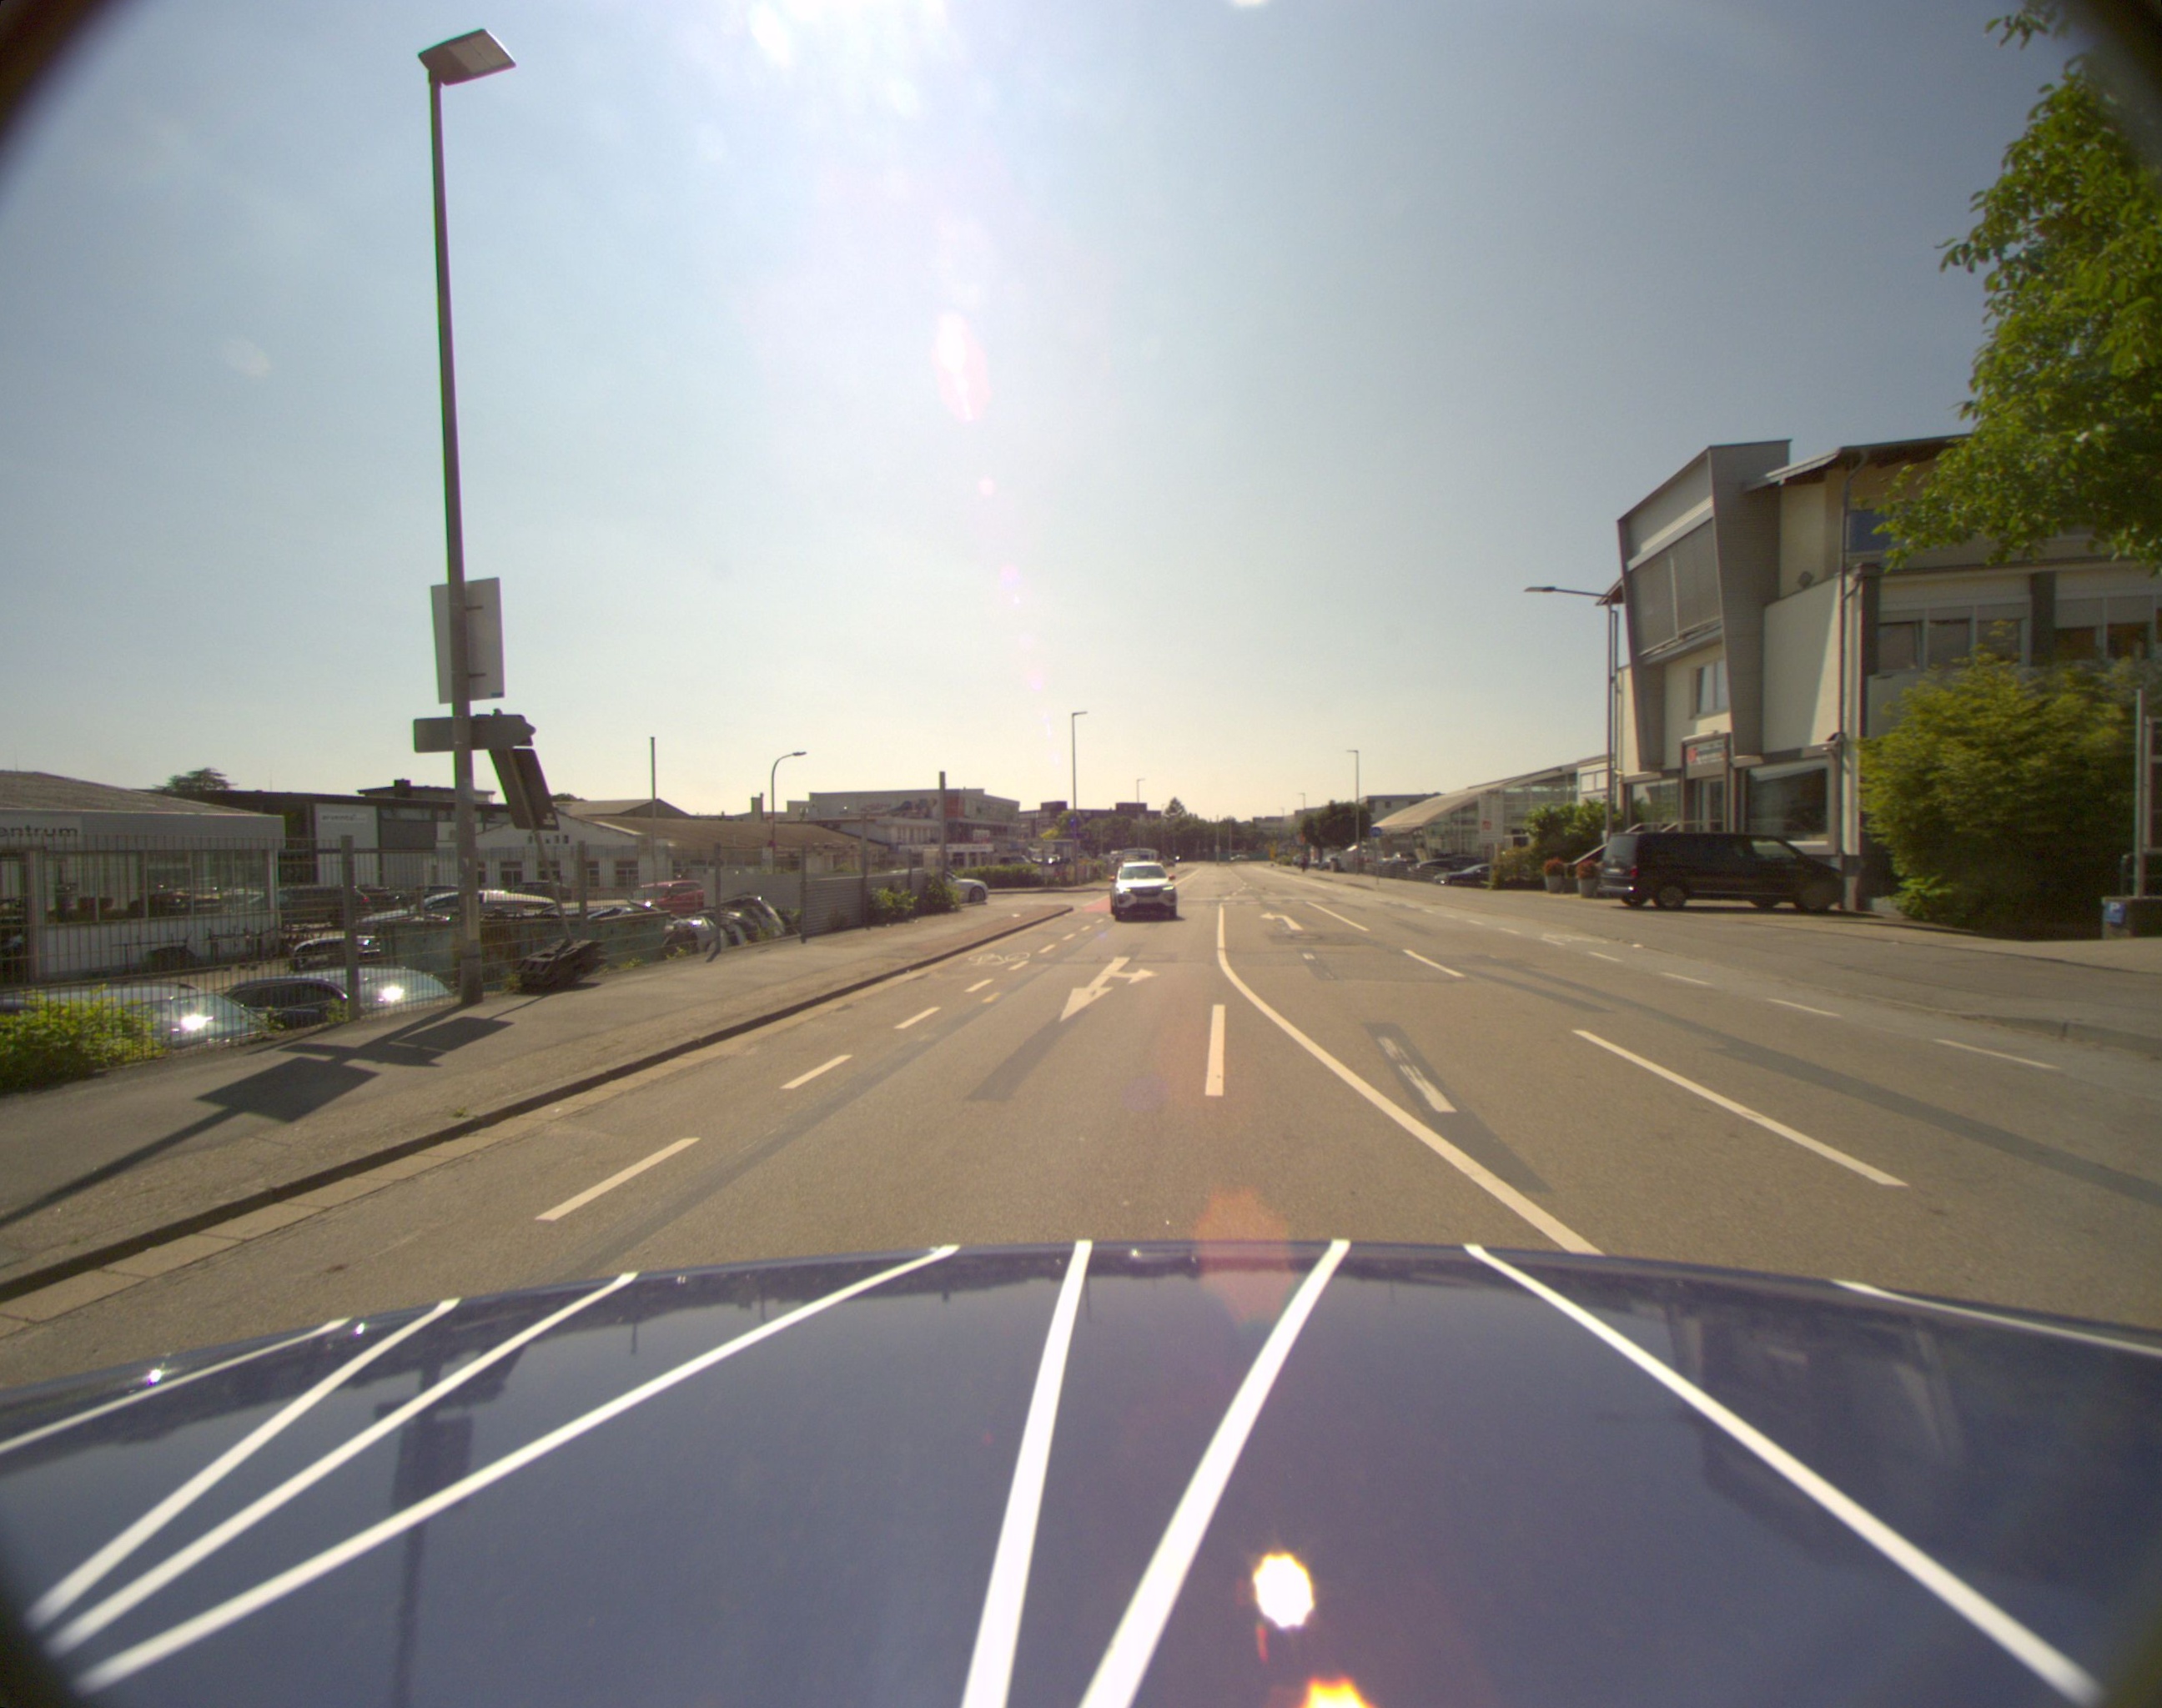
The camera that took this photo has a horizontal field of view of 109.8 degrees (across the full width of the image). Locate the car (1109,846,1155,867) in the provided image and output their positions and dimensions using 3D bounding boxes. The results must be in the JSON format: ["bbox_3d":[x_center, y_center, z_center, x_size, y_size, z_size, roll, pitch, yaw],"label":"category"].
[{"bbox_3d":[7.290,0.326,107.535,6.238,2.853,2.322,-1,0,11],"label":"car"}]

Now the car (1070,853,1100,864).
[{"bbox_3d":[0.683,0.633,119.155,4.546,1.668,2.001,-1,0,6],"label":"car"}]

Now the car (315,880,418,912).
[{"bbox_3d":[-39.226,2.307,41.791,3.995,1.652,2.001,-1,0,7],"label":"car"}]

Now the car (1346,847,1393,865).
[{"bbox_3d":[27.954,0.194,73.553,4.004,1.541,1.856,-2,0,-20],"label":"car"}]

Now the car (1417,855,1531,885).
[{"bbox_3d":[20.021,0.816,38.906,4.747,1.472,2.049,-1,0,9],"label":"car"}]

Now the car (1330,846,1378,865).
[{"bbox_3d":[27.704,0.197,77.022,4.486,1.698,1.907,-3,1,-25],"label":"car"}]

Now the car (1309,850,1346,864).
[{"bbox_3d":[29.540,0.374,91.090,4.167,1.451,1.903,-2,0,-33],"label":"car"}]

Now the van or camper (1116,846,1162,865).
[{"bbox_3d":[8.439,0.225,110.443,6.360,2.684,2.714,-1,0,10],"label":"van or camper"}]

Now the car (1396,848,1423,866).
[{"bbox_3d":[31.231,0.266,72.349,1.996,1.674,4.005,-1,0,19],"label":"car"}]

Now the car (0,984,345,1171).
[{"bbox_3d":[-11.943,2.618,9.407,3.994,1.641,2.001,-2,0,9],"label":"car"}]

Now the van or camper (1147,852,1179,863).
[{"bbox_3d":[14.452,0.639,133.802,5.141,1.950,1.983,0,1,-20],"label":"van or camper"}]

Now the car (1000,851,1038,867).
[{"bbox_3d":[-9.389,0.783,115.400,5.308,2.405,2.327,-1,0,6],"label":"car"}]

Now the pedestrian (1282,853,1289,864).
[{"bbox_3d":[31.155,0.656,115.590,0.995,1.676,0.800,0,1,21],"label":"pedestrian"}]

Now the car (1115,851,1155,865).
[{"bbox_3d":[7.496,0.523,104.908,5.243,1.940,2.001,0,0,10],"label":"car"}]

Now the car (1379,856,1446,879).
[{"bbox_3d":[23.489,0.979,53.992,3.995,1.482,1.859,-1,3,7],"label":"car"}]

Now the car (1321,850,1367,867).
[{"bbox_3d":[27.753,0.451,80.204,4.586,1.686,1.855,-2,0,-25],"label":"car"}]

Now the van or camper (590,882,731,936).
[{"bbox_3d":[-14.407,1.848,26.364,1.997,1.343,4.232,-7,-1,9],"label":"van or camper"}]

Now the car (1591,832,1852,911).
[{"bbox_3d":[15.888,0.398,19.149,4.573,1.854,2.094,0,1,11],"label":"car"}]

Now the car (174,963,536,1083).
[{"bbox_3d":[-11.373,2.624,12.102,3.995,1.295,2.001,-4,0,6],"label":"car"}]

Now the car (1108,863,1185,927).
[{"bbox_3d":[1.660,1.017,20.366,1.726,1.476,3.676,0,1,0],"label":"car"}]

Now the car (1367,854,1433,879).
[{"bbox_3d":[23.462,0.928,55.998,3.994,1.435,1.860,5,1,8],"label":"car"}]

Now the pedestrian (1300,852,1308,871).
[{"bbox_3d":[22.090,0.755,75.242,0.733,1.857,1.048,0,1,15],"label":"pedestrian"}]

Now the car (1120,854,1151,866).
[{"bbox_3d":[7.282,0.838,102.043,3.928,1.584,1.799,-1,0,10],"label":"car"}]

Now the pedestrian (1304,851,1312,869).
[{"bbox_3d":[24.034,0.624,80.469,0.724,1.838,0.912,-1,1,7],"label":"pedestrian"}]

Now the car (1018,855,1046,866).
[{"bbox_3d":[-7.734,0.974,120.933,4.113,1.723,2.001,-1,0,7],"label":"car"}]

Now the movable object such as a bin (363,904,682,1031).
[{"bbox_3d":[-10.945,2.205,15.043,5.124,2.002,2.001,-4,0,10],"label":"movable object such as a bin"}]

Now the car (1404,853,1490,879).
[{"bbox_3d":[22.404,0.736,46.650,4.305,1.549,1.996,-1,0,6],"label":"car"}]

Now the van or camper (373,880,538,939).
[{"bbox_3d":[-22.618,1.934,27.637,1.993,1.535,4.237,5,5,37],"label":"van or camper"}]

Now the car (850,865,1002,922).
[{"bbox_3d":[-4.926,1.236,24.740,1.953,1.350,4.505,-5,0,40],"label":"car"}]

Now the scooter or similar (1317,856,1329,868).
[{"bbox_3d":[24.968,0.810,78.418,0.745,1.240,1.491,-1,0,2],"label":"scooter or similar"}]

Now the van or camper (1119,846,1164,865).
[{"bbox_3d":[8.983,0.228,113.171,6.360,2.700,2.714,-1,0,10],"label":"van or camper"}]

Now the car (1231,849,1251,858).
[{"bbox_3d":[36.668,-0.064,174.572,3.990,1.696,2.004,-3,0,32],"label":"car"}]

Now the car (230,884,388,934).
[{"bbox_3d":[-29.194,2.025,28.822,1.995,1.637,4.009,-3,-2,40],"label":"car"}]
